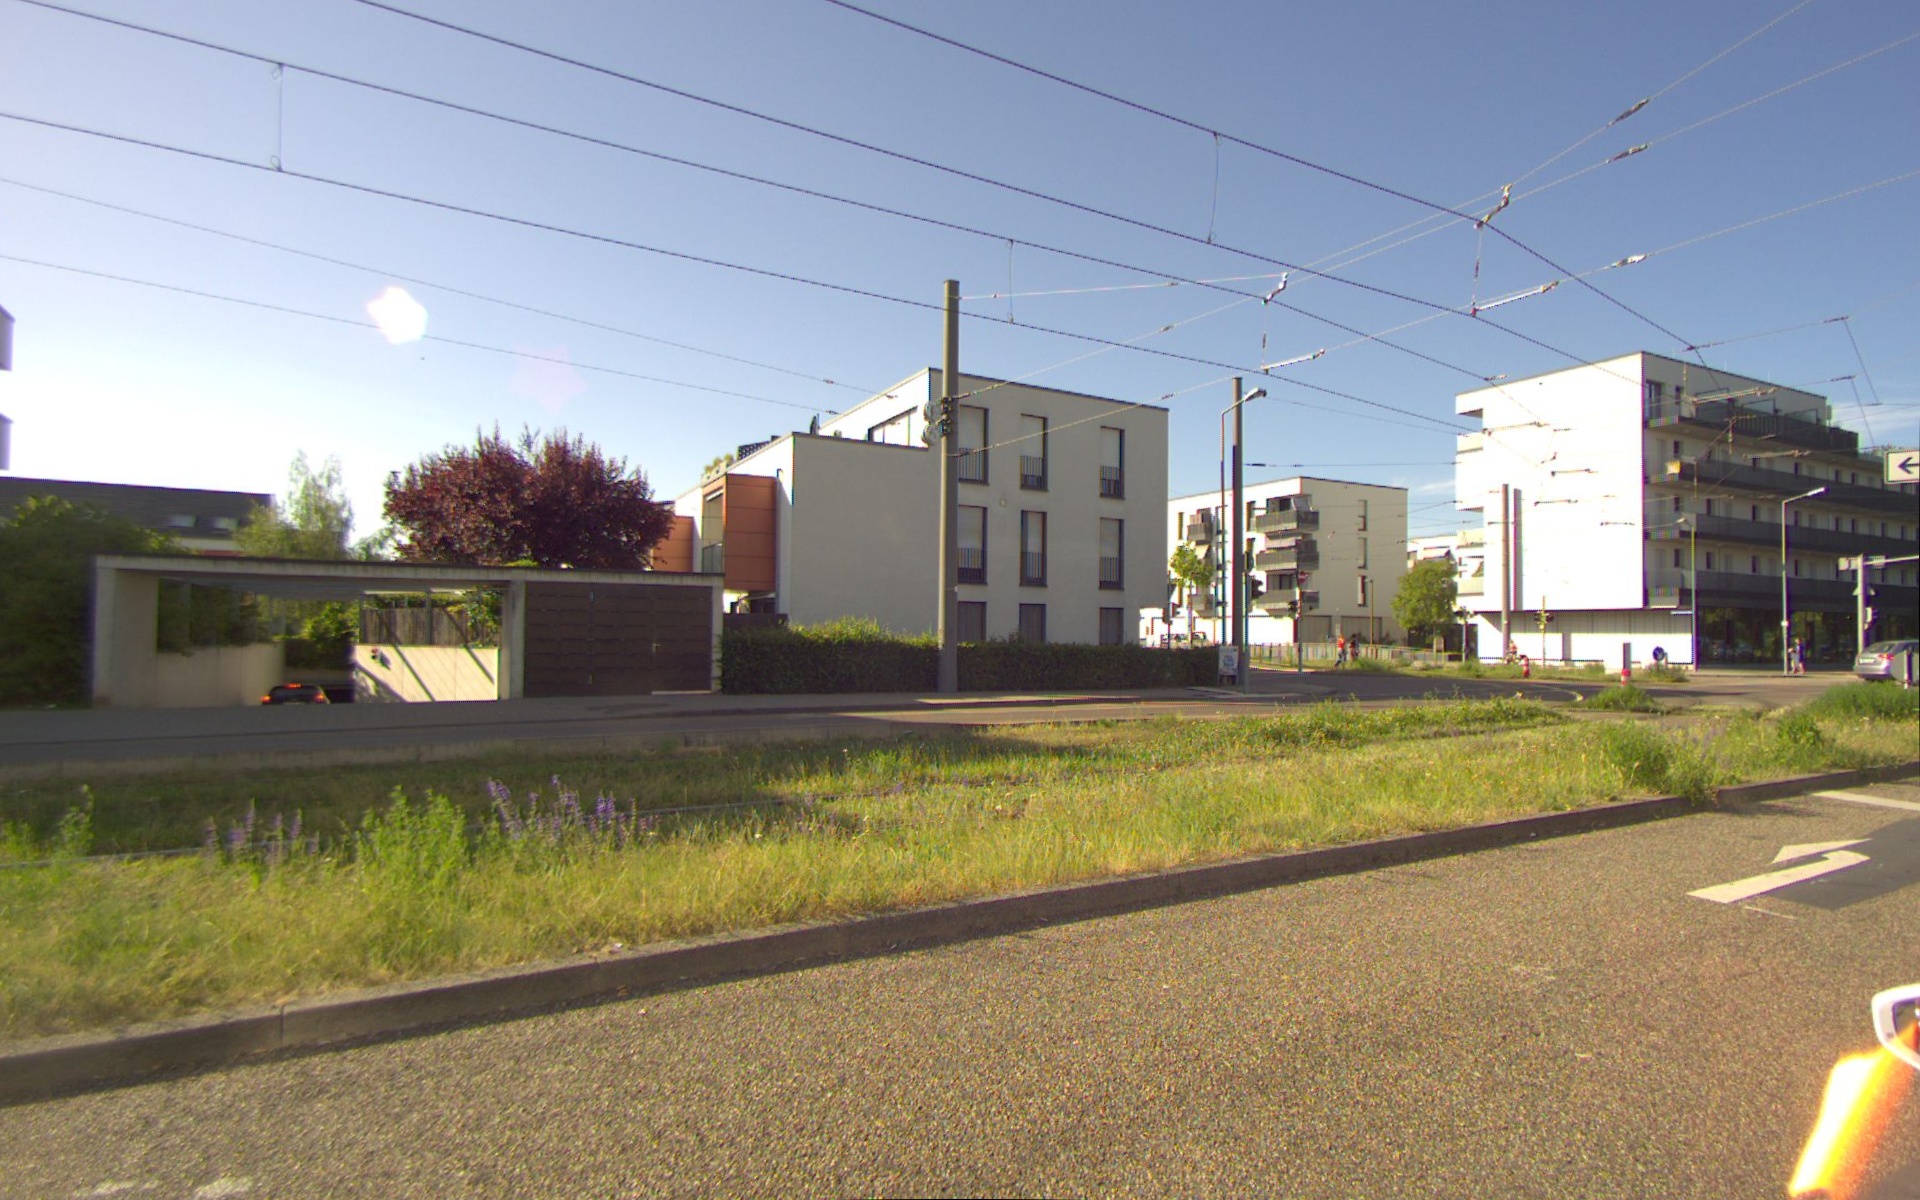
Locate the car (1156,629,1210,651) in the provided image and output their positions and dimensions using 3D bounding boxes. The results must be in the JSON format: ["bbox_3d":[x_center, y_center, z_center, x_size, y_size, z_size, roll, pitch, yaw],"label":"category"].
[{"bbox_3d":[17.787,3.181,80.338,1.974,1.595,4.309,2,0,-27],"label":"car"}]

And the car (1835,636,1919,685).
[{"bbox_3d":[30.522,1.896,31.641,4.027,1.505,1.871,0,-2,15],"label":"car"}]

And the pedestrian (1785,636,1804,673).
[{"bbox_3d":[40.669,2.646,48.960,0.513,1.767,0.539,2,0,-35],"label":"pedestrian"}]

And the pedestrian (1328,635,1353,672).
[{"bbox_3d":[17.475,2.448,46.185,0.735,1.626,0.766,2,0,-36],"label":"pedestrian"}]

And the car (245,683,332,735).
[{"bbox_3d":[-19.410,3.180,29.172,1.556,1.344,3.976,1,-6,-27],"label":"car"}]

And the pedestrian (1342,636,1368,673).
[{"bbox_3d":[17.812,2.453,45.263,0.735,1.626,0.766,2,0,-36],"label":"pedestrian"}]

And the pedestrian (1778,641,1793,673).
[{"bbox_3d":[40.111,2.764,48.798,0.513,1.523,0.438,2,0,-35],"label":"pedestrian"}]

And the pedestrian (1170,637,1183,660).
[{"bbox_3d":[16.783,3.754,77.771,0.613,1.714,0.809,1,-2,-29],"label":"pedestrian"}]

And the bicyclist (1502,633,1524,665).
[{"bbox_3d":[29.304,2.597,53.205,0.630,1.635,0.782,2,0,-16],"label":"bicyclist"}]

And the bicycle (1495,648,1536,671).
[{"bbox_3d":[29.455,3.142,53.256,1.830,1.139,0.820,2,0,-16],"label":"bicycle"}]
